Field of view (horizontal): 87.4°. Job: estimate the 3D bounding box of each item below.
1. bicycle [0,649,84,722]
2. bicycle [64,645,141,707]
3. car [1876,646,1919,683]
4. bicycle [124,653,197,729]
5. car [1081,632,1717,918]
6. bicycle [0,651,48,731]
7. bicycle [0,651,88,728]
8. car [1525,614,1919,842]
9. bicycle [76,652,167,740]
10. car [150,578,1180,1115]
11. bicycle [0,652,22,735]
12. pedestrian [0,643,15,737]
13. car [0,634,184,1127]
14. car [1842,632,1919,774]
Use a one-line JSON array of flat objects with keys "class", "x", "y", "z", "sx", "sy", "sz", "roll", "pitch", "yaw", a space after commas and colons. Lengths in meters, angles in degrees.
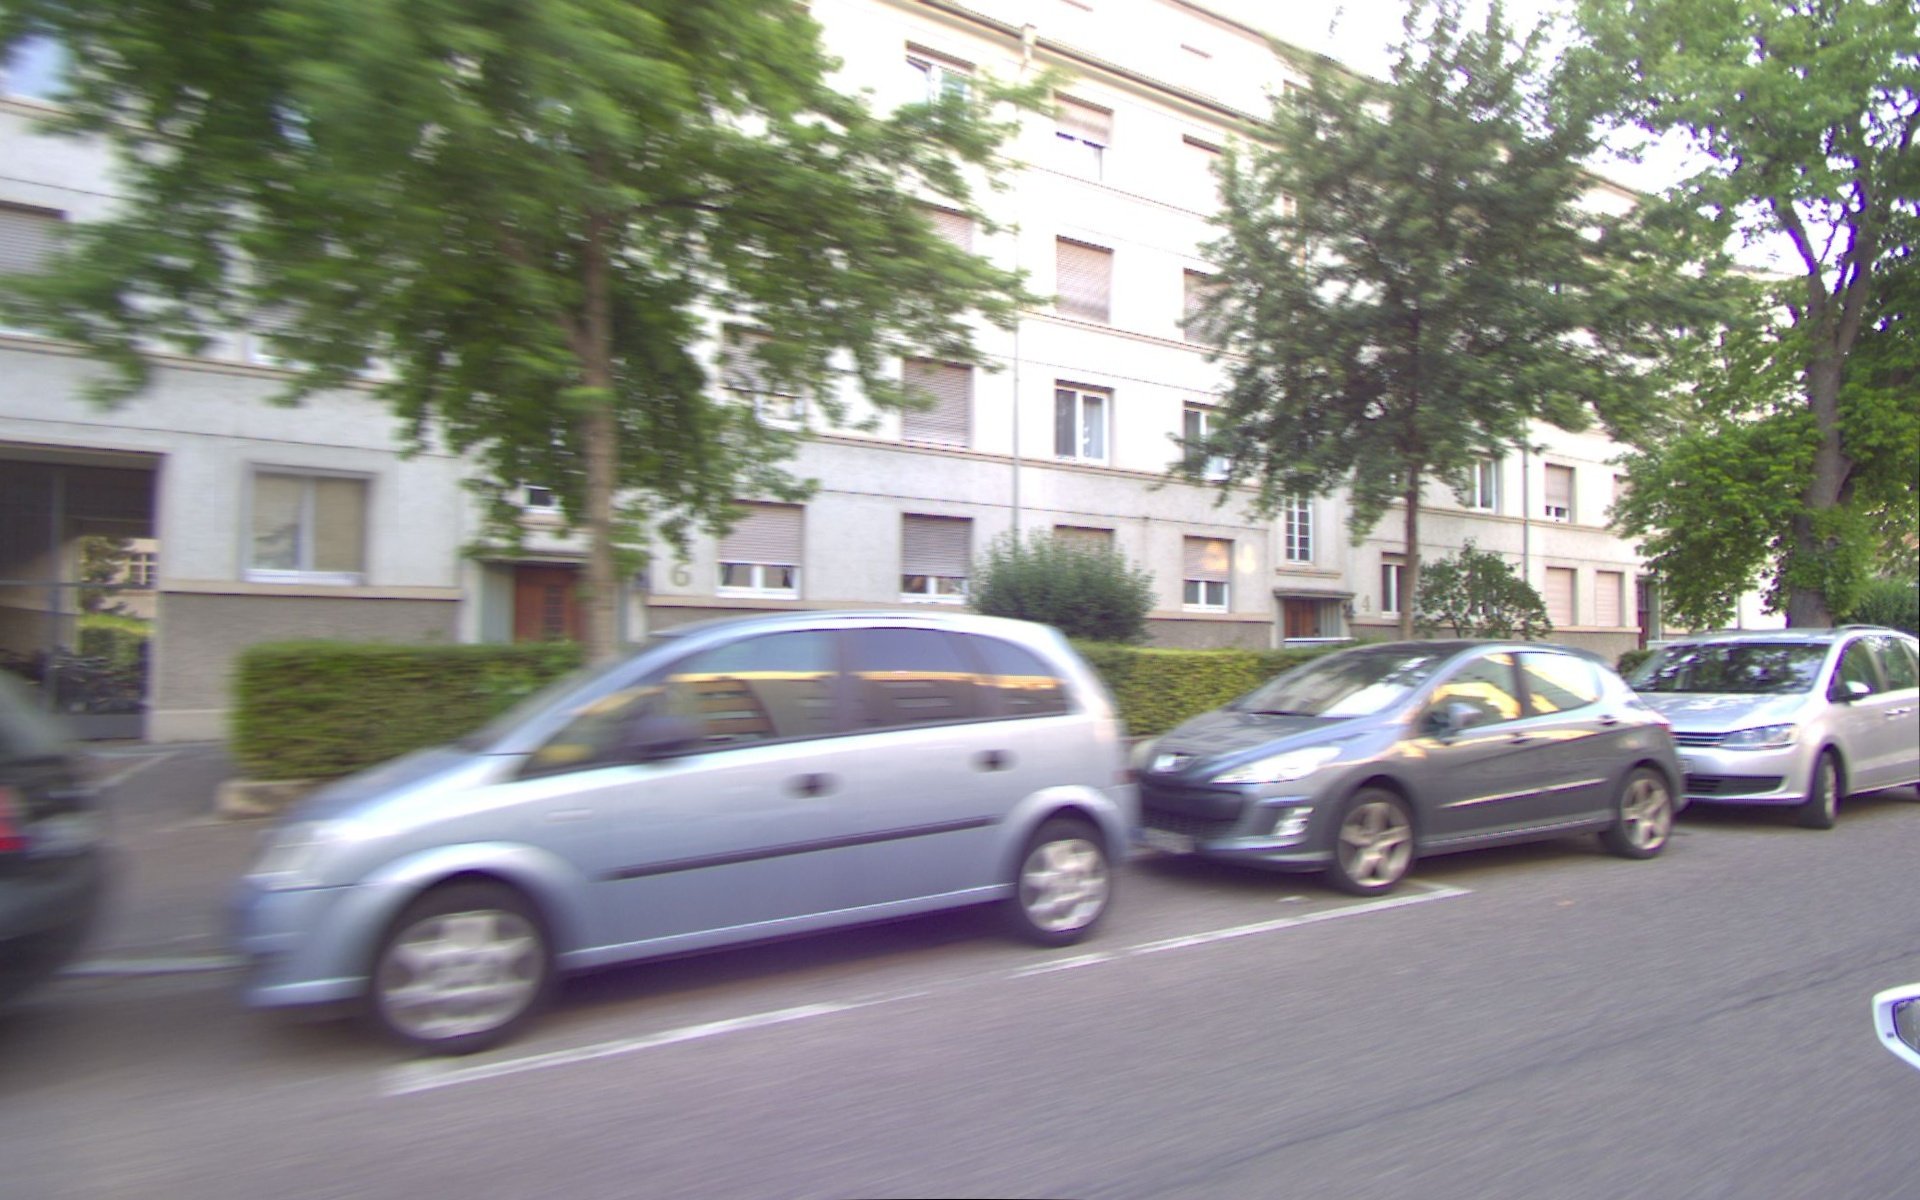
[{"class": "bicycle", "x": -15.895, "y": 1.436, "z": 17.320, "sx": 0.619, "sy": 1.187, "sz": 1.923, "roll": 1, "pitch": -3, "yaw": -24}, {"class": "bicycle", "x": -17.194, "y": 1.498, "z": 20.190, "sx": 0.619, "sy": 1.187, "sz": 1.923, "roll": 1, "pitch": -3, "yaw": -24}, {"class": "car", "x": 49.070, "y": 3.215, "z": 50.656, "sx": 4.548, "sy": 1.823, "sz": 1.822, "roll": 0, "pitch": -2, "yaw": -10}, {"class": "bicycle", "x": -13.530, "y": 1.507, "z": 17.047, "sx": 0.620, "sy": 1.187, "sz": 1.920, "roll": 1, "pitch": -3, "yaw": -29}, {"class": "car", "x": 3.105, "y": 1.048, "z": 7.058, "sx": 4.212, "sy": 1.516, "sz": 1.728, "roll": 2, "pitch": -5, "yaw": -25}, {"class": "bicycle", "x": -14.650, "y": 1.340, "z": 14.733, "sx": 0.615, "sy": 1.187, "sz": 1.818, "roll": 0, "pitch": -3, "yaw": 13}, {"class": "bicycle", "x": -14.999, "y": 1.398, "z": 15.844, "sx": 0.615, "sy": 1.187, "sz": 1.818, "roll": 0, "pitch": -3, "yaw": 13}, {"class": "car", "x": 7.700, "y": 1.105, "z": 9.625, "sx": 4.804, "sy": 1.712, "sz": 1.838, "roll": 2, "pitch": -5, "yaw": -31}, {"class": "bicycle", "x": -12.199, "y": 1.358, "z": 14.671, "sx": 0.620, "sy": 1.187, "sz": 1.920, "roll": 1, "pitch": -3, "yaw": -29}, {"class": "car", "x": -1.085, "y": 0.884, "z": 4.834, "sx": 4.067, "sy": 1.621, "sz": 1.701, "roll": 2, "pitch": -6, "yaw": -30}, {"class": "bicycle", "x": -14.140, "y": 1.316, "z": 13.796, "sx": 0.615, "sy": 1.187, "sz": 1.818, "roll": 0, "pitch": -3, "yaw": 9}, {"class": "pedestrian", "x": -13.928, "y": 1.276, "z": 14.201, "sx": 0.583, "sy": 1.337, "sz": 0.554, "roll": 0, "pitch": -2, "yaw": 14}, {"class": "car", "x": -4.846, "y": 0.865, "z": 2.926, "sx": 3.796, "sy": 1.470, "sz": 1.701, "roll": 2, "pitch": -6, "yaw": -29}, {"class": "car", "x": 13.985, "y": 1.321, "z": 13.338, "sx": 4.715, "sy": 1.741, "sz": 1.945, "roll": 2, "pitch": -5, "yaw": -30}]
